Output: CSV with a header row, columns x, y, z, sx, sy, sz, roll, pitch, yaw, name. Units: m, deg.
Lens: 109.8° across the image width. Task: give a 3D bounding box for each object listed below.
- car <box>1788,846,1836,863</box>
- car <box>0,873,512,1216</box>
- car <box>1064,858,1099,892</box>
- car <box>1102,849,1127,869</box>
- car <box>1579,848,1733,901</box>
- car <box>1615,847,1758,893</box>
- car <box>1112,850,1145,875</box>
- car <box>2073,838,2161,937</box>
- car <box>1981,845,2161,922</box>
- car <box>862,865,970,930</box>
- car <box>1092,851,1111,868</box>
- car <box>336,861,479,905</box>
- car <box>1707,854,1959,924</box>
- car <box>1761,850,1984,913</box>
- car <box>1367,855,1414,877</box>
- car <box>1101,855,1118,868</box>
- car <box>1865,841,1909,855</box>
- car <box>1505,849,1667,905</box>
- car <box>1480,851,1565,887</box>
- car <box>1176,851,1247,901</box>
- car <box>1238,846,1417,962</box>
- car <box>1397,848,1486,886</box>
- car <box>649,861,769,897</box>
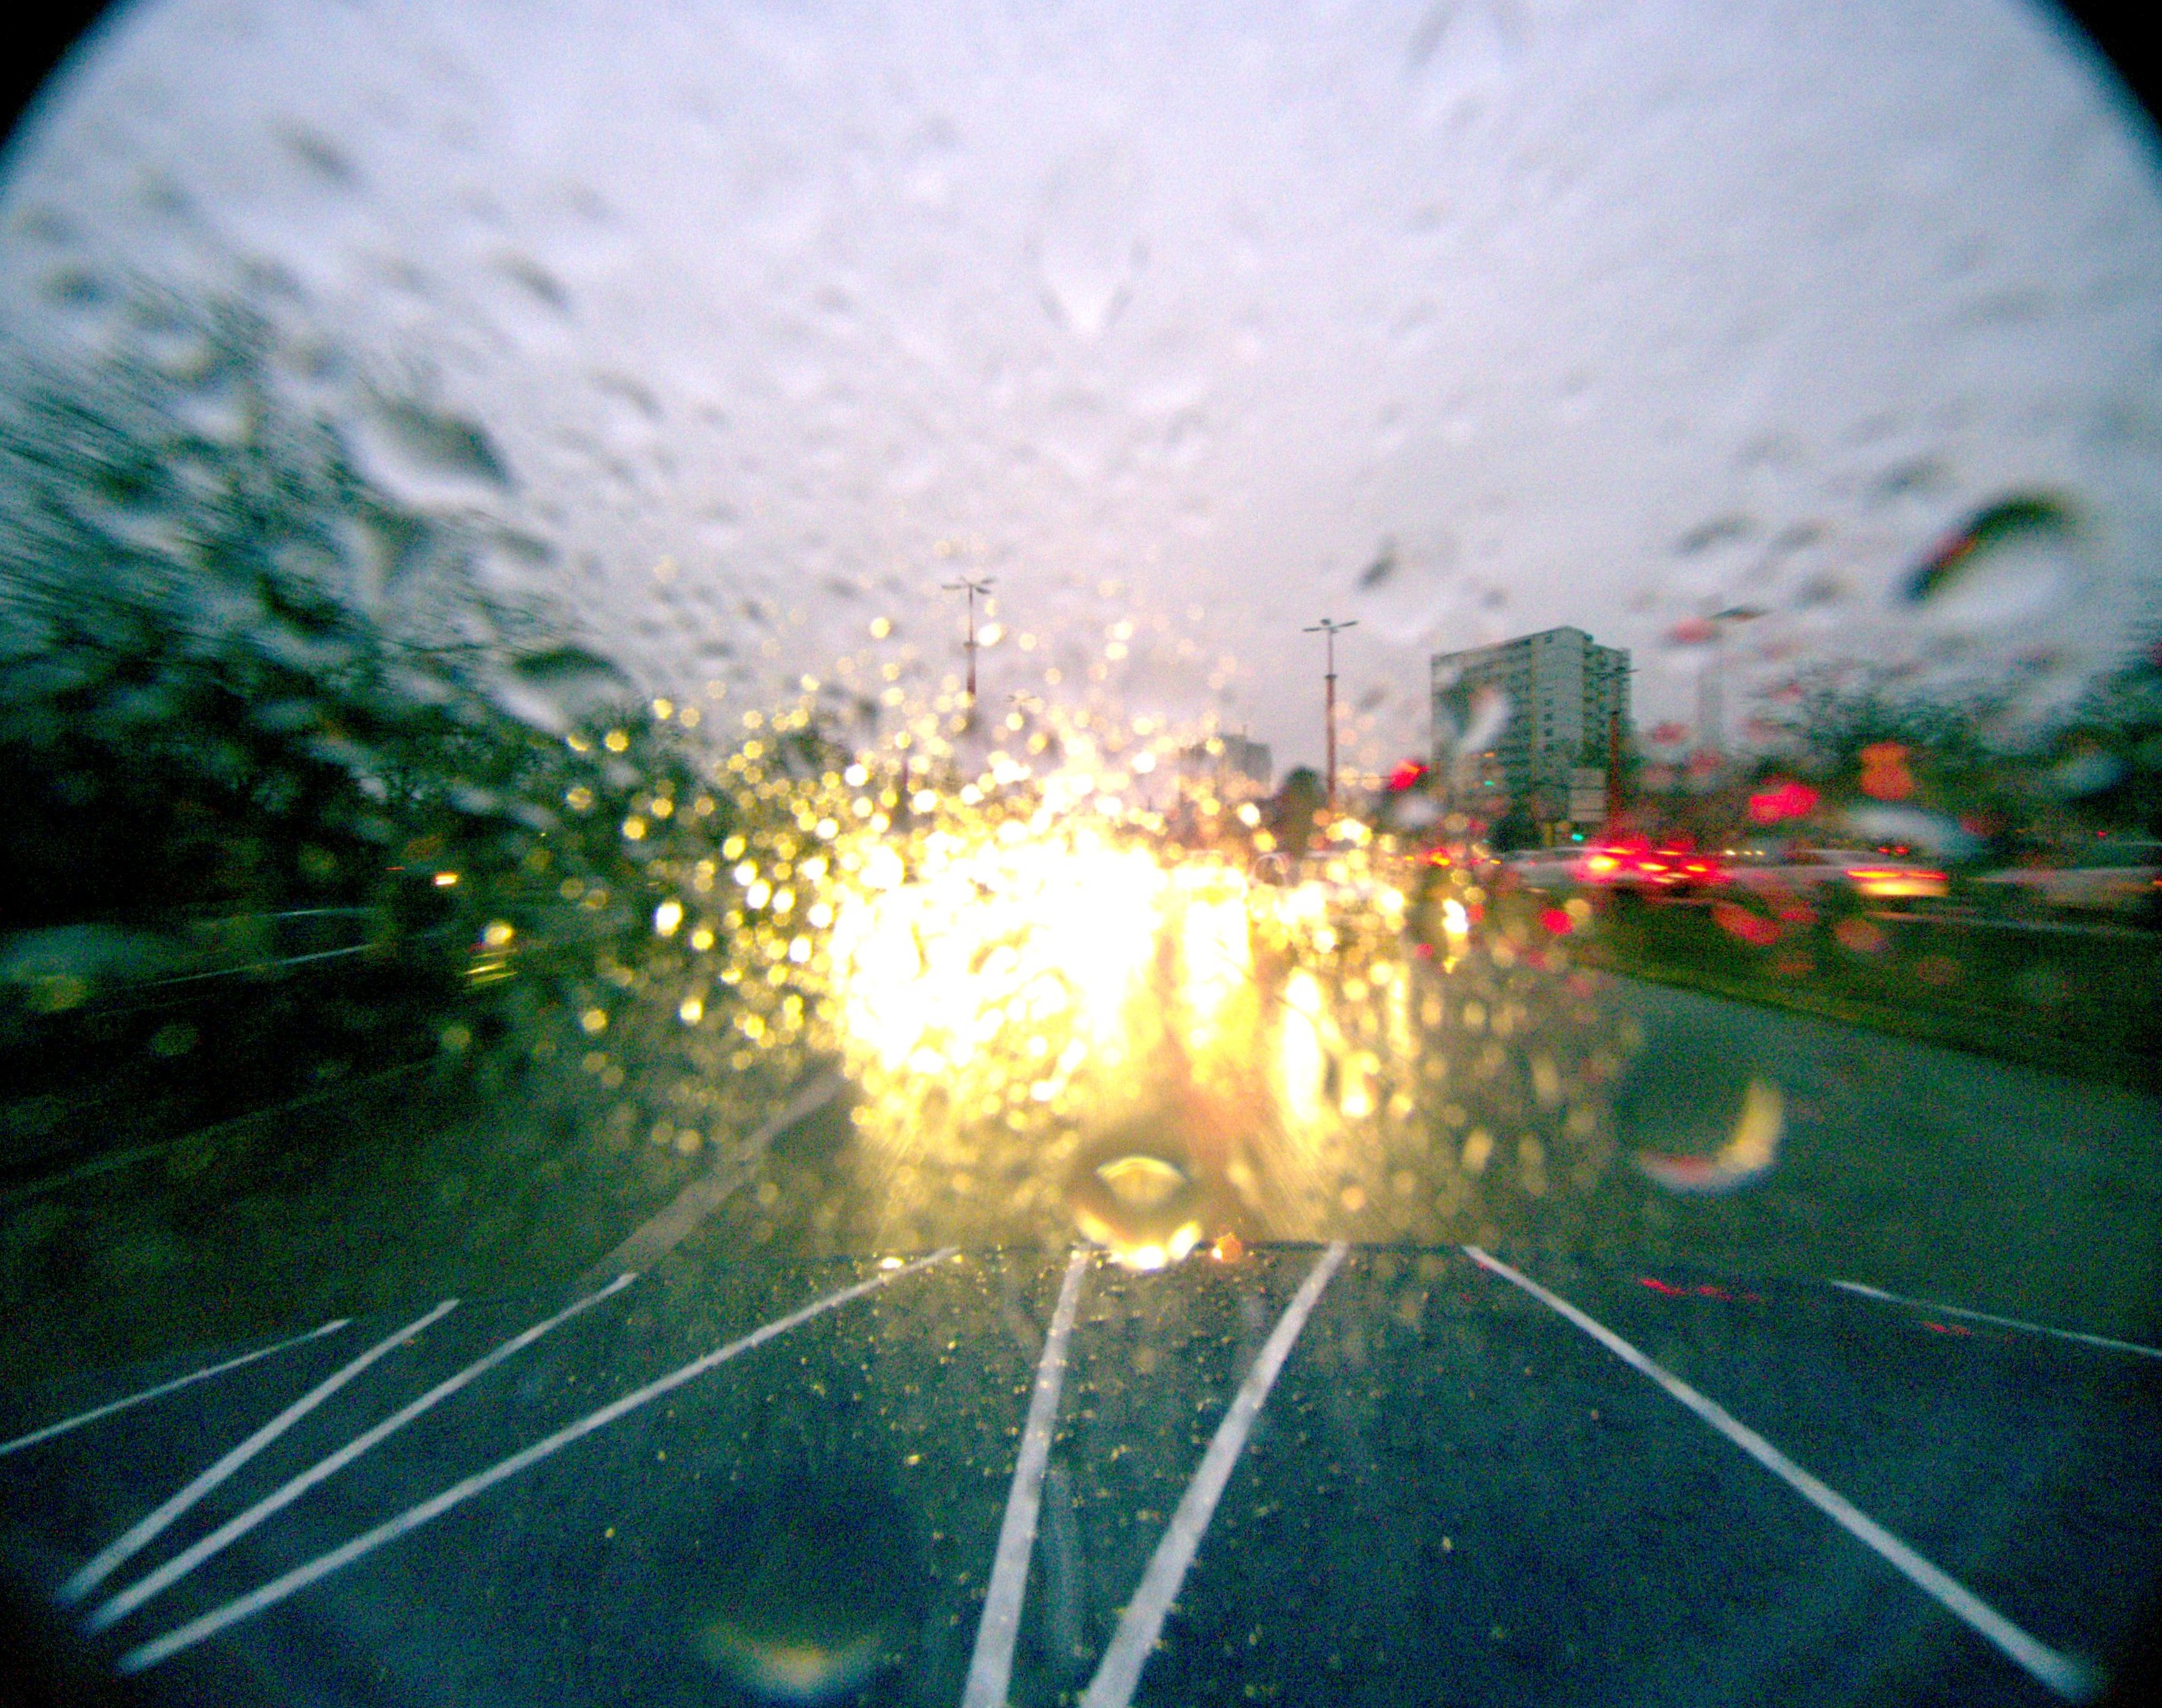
x,y,z,sx,sy,sz,roll,pitch,yaw,name
69.742,0.030,72.500,4.605,1.521,1.995,-1,1,-29,car
-6.508,1.014,5.178,1.972,1.610,4.546,0,0,-2,car
0.003,1.012,38.447,1.679,1.590,4.044,-1,1,-1,car
2.862,0.424,65.056,1.953,1.590,4.124,-1,1,0,car
18.770,0.623,25.083,1.861,1.589,4.287,-1,0,0,car
21.684,0.522,27.445,1.998,1.526,4.000,-1,1,1,car
3.146,0.554,51.524,1.953,1.590,4.124,-1,1,0,car
18.237,0.530,11.271,1.774,1.577,4.033,-1,0,0,car
21.677,0.564,15.341,1.774,1.486,4.439,-1,0,0,car
-4.431,1.023,19.824,1.885,1.368,4.745,-1,1,-23,car
2.185,0.538,82.165,1.998,1.652,3.999,-2,1,1,car
-26.722,1.118,30.275,3.891,1.626,1.656,-1,1,-13,car
18.281,0.764,18.857,1.774,1.524,4.525,-1,0,0,car
21.487,0.666,20.920,1.998,1.526,4.000,-1,1,1,car
22.569,0.843,55.506,1.774,1.544,3.946,-1,0,-1,car
3.755,0.980,100.856,1.998,1.605,3.999,-2,1,1,car
87.476,-0.634,82.483,4.491,1.521,1.996,-1,1,-26,car
15.257,0.626,23.345,1.774,1.527,4.840,-1,0,0,car
18.555,0.586,32.086,1.656,1.412,3.326,-1,0,0,car
4.510,0.703,26.794,1.694,1.530,4.189,-2,1,-1,car
3.942,0.696,12.902,1.718,1.638,4.146,-1,1,0,car
15.828,0.529,33.603,1.862,1.572,4.078,-1,0,-3,car
-14.566,0.966,29.829,3.994,1.302,1.638,0,1,9,car
